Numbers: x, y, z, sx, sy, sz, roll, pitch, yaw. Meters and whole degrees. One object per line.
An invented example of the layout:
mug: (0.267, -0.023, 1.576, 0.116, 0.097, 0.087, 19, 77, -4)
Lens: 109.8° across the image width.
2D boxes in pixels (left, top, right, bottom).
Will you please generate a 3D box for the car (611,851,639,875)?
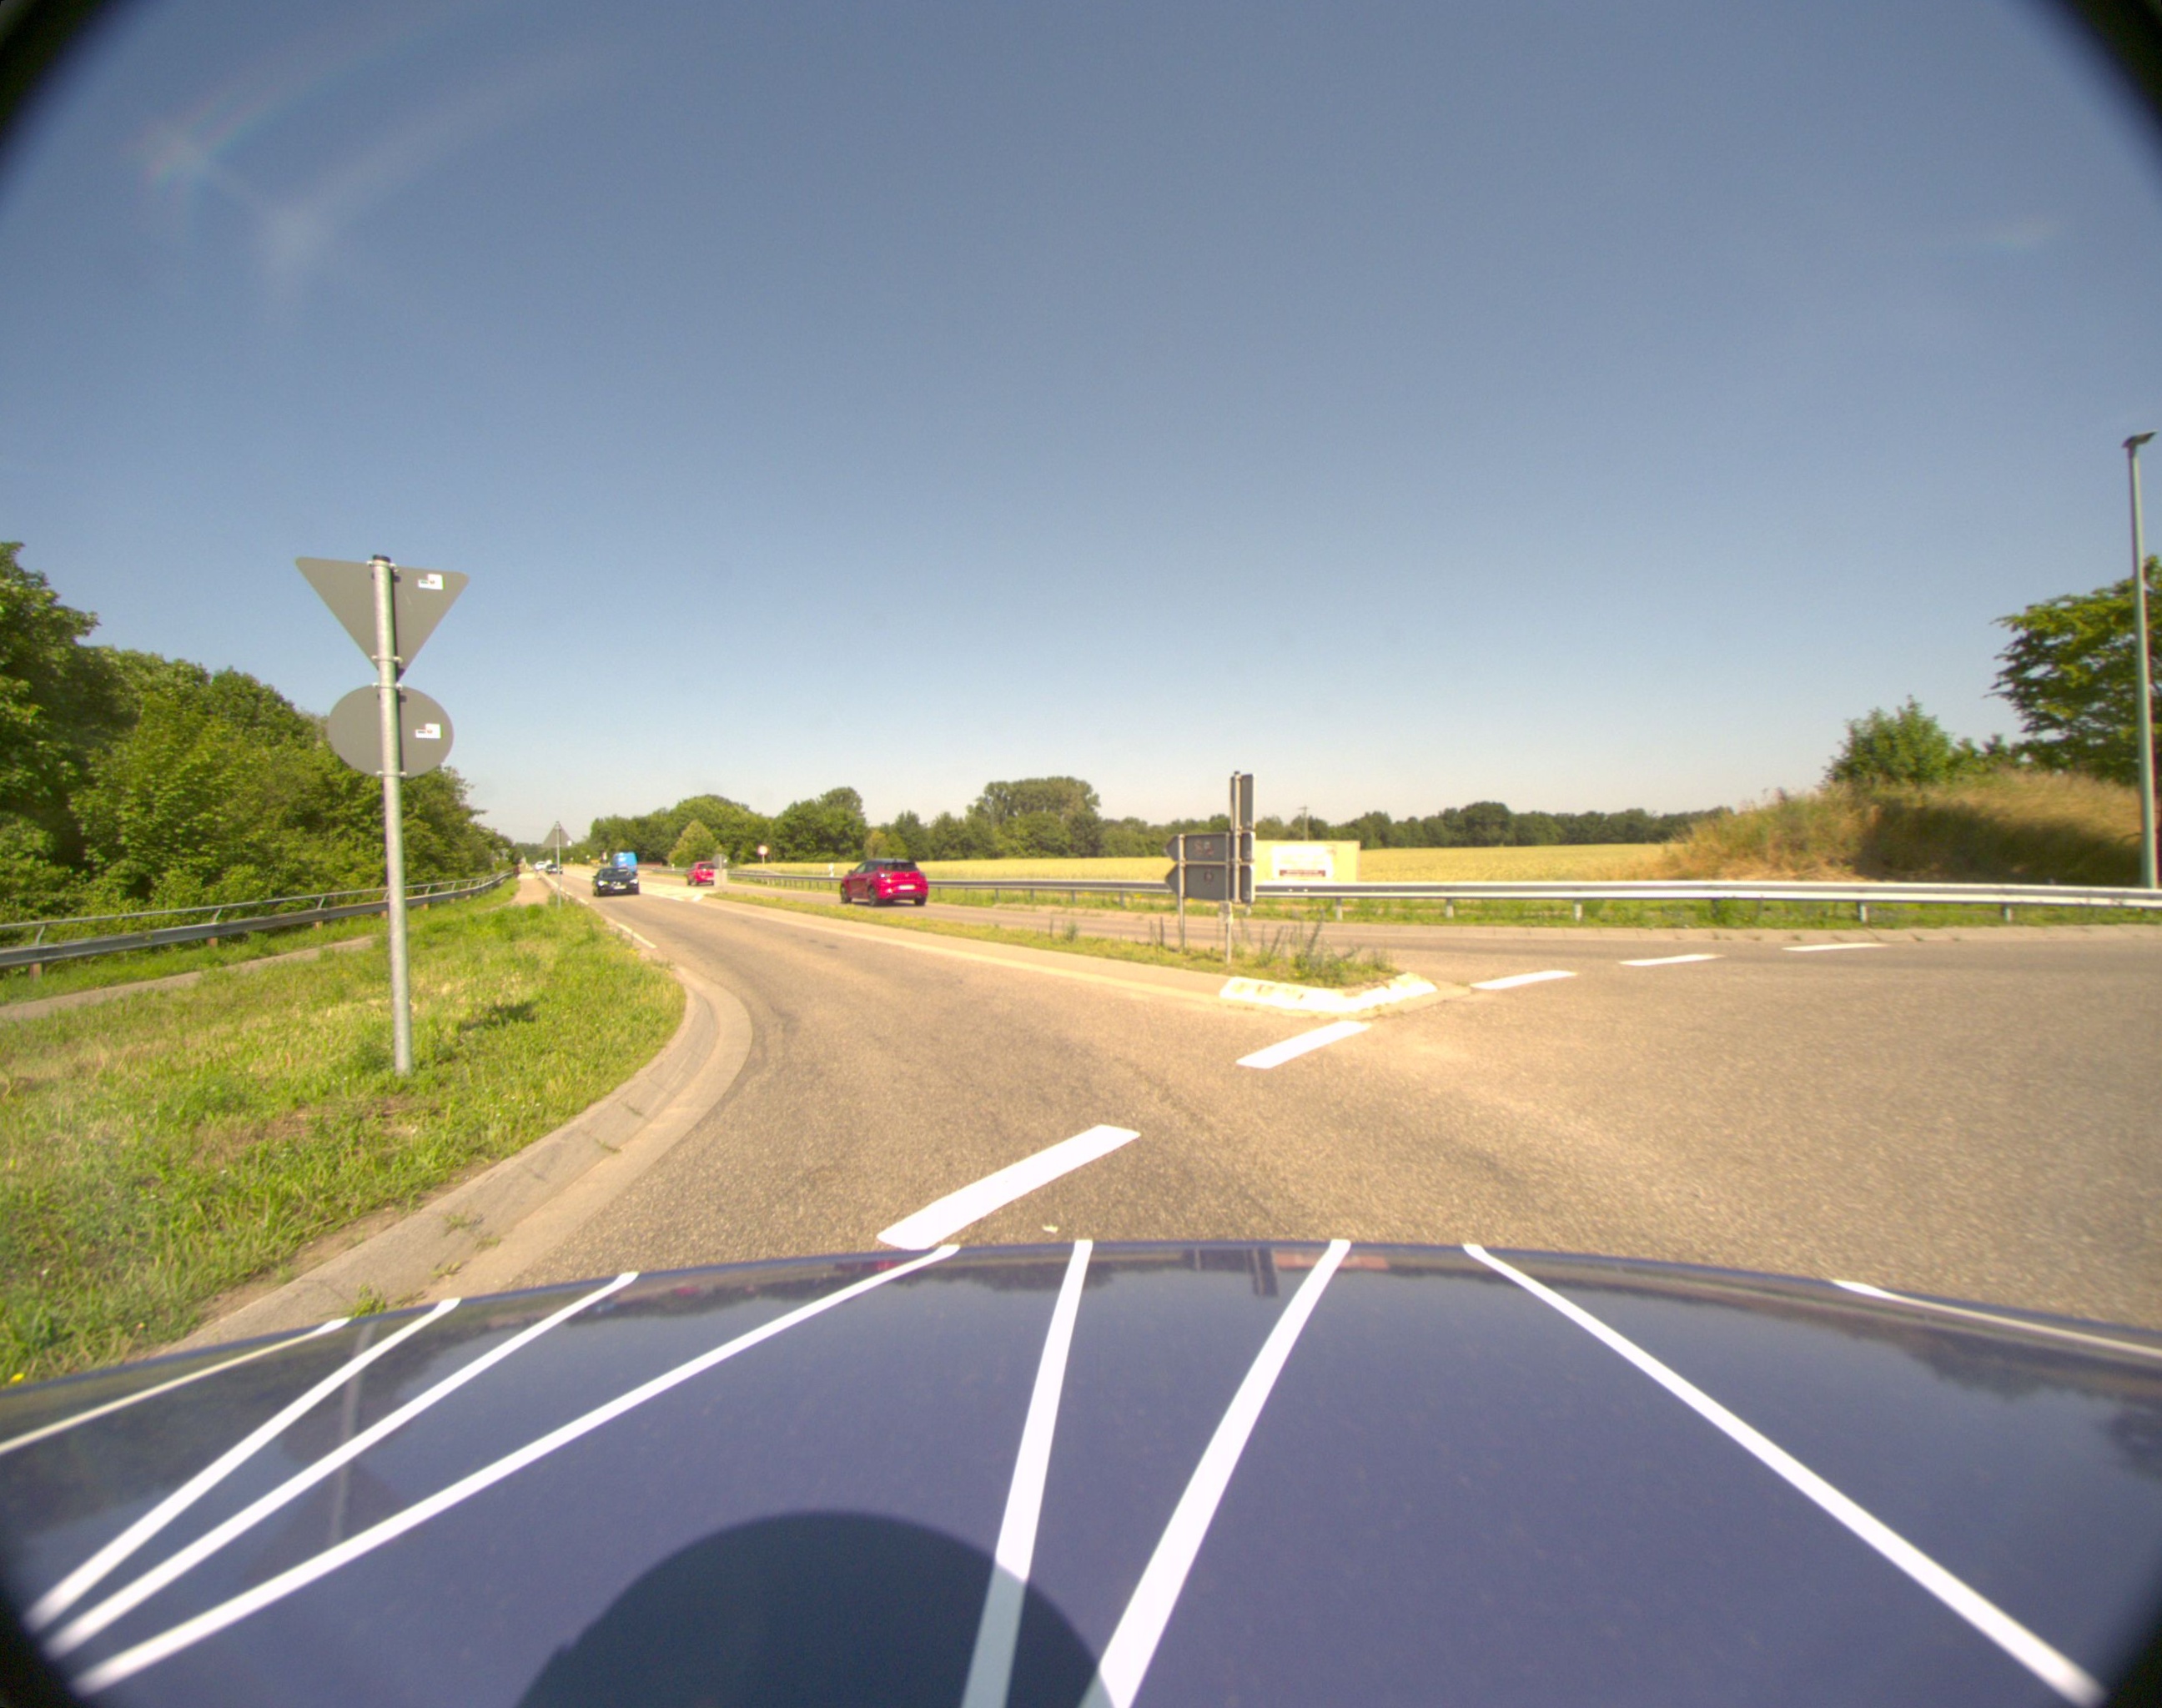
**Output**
car: (-52.254, 0.997, 87.021, 2.004, 2.596, 7.271, -1, 0, -36)

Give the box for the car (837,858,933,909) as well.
car: (-6.580, 0.954, 25.220, 1.753, 1.513, 3.821, -1, -1, -37)

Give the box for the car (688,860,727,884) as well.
car: (-24.189, 1.138, 49.144, 1.635, 1.482, 3.792, -1, 1, -36)

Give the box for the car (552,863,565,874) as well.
car: (-78.684, 2.184, 114.478, 1.464, 1.638, 3.527, -4, 2, -36)

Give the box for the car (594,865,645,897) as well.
car: (-23.007, 1.285, 37.805, 1.811, 1.390, 4.169, -3, 2, -35)
